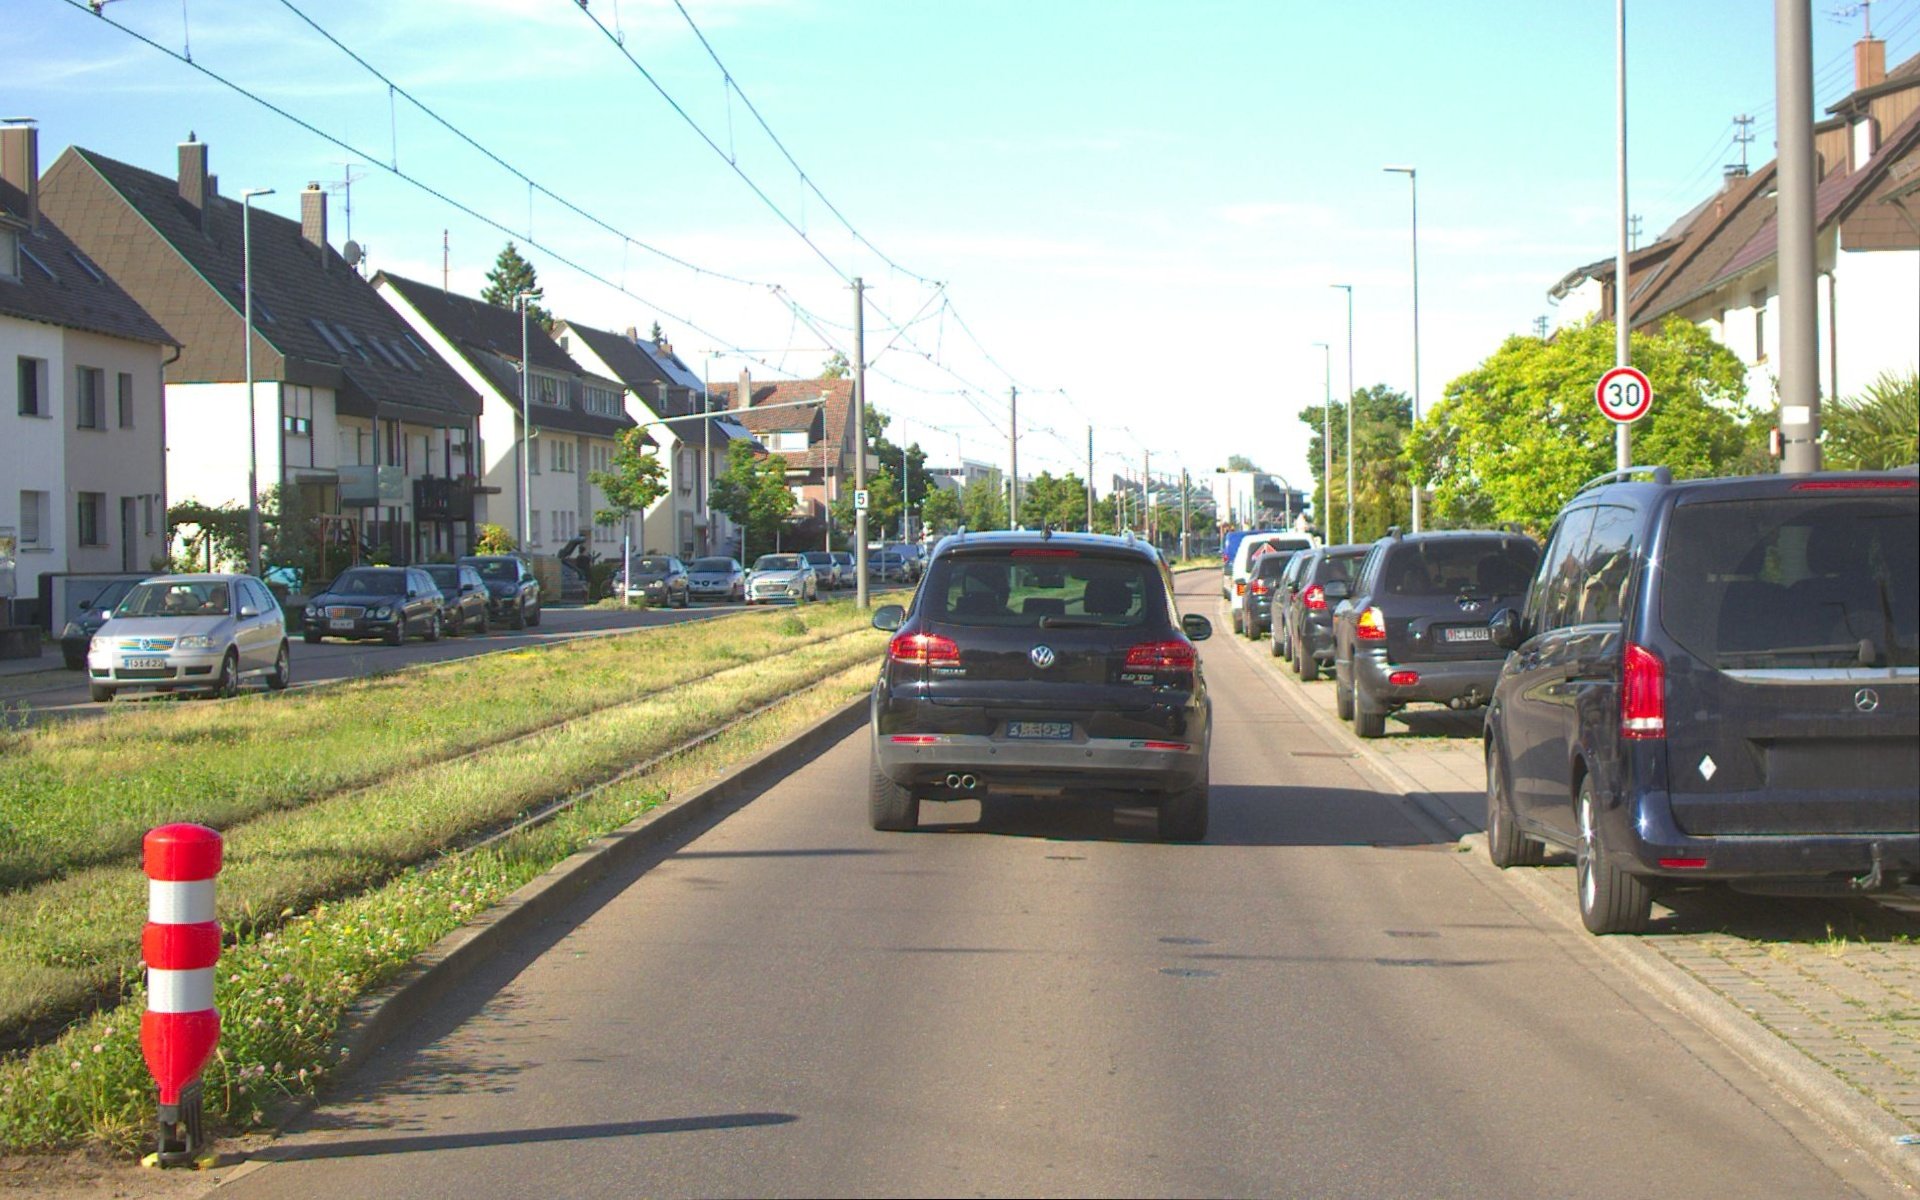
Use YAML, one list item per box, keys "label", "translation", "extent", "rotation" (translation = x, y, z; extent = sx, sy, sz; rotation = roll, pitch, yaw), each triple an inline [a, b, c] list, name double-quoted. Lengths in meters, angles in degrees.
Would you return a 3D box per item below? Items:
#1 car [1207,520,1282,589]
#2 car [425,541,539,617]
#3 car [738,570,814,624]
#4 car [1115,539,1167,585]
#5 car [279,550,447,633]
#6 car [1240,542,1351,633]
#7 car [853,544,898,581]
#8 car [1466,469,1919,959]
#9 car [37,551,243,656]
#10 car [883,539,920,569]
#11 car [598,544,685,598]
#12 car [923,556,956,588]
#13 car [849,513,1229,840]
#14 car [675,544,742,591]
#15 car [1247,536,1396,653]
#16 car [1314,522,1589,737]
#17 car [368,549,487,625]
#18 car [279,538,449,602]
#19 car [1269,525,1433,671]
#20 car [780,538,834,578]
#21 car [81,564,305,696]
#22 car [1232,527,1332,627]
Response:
- label: "car"
  translation: [8.017, -1.298, 97.071]
  extent: [1.994, 1.855, 4.917]
  rotation: [-1, 1, 4]
- label: "car"
  translation: [-10.567, -0.490, 76.323]
  extent: [1.803, 1.591, 4.812]
  rotation: [-1, 1, 0]
- label: "car"
  translation: [-5.348, -0.067, 100.131]
  extent: [1.708, 1.485, 4.023]
  rotation: [-1, -1, 4]
- label: "car"
  translation: [5.705, -1.216, 108.173]
  extent: [1.572, 1.386, 3.614]
  rotation: [-1, 1, 3]
- label: "car"
  translation: [-11.294, -0.184, 65.371]
  extent: [1.877, 1.517, 4.879]
  rotation: [0, 1, 6]
- label: "car"
  translation: [5.625, -0.231, 58.001]
  extent: [1.671, 1.448, 4.125]
  rotation: [-1, 1, 3]
- label: "car"
  translation: [-3.827, -1.686, 155.722]
  extent: [1.660, 1.575, 3.999]
  rotation: [-1, -1, 4]
- label: "car"
  translation: [3.516, 0.387, 15.378]
  extent: [1.962, 1.830, 4.927]
  rotation: [-1, 1, 2]
- label: "car"
  translation: [-12.143, 0.017, 51.168]
  extent: [1.790, 1.458, 4.166]
  rotation: [-1, 1, 4]
- label: "car"
  translation: [-2.728, -2.154, 161.050]
  extent: [1.515, 1.357, 3.590]
  rotation: [-1, 1, 3]
- label: "car"
  translation: [-9.030, -0.834, 97.699]
  extent: [1.619, 1.448, 3.717]
  rotation: [-1, 1, 8]
- label: "car"
  translation: [-1.058, -1.448, 178.364]
  extent: [1.465, 1.671, 3.287]
  rotation: [-1, 0, 4]
- label: "car"
  translation: [0.344, 0.377, 19.929]
  extent: [1.811, 1.665, 4.258]
  rotation: [1, 1, -4]
- label: "car"
  translation: [-8.067, -1.041, 110.409]
  extent: [1.619, 1.404, 3.717]
  rotation: [-1, -1, 4]
- label: "car"
  translation: [4.791, -0.091, 45.978]
  extent: [1.615, 1.470, 4.449]
  rotation: [-1, 1, 2]
- label: "car"
  translation: [4.078, 0.191, 29.154]
  extent: [1.854, 1.653, 4.473]
  rotation: [-1, 1, 3]
- label: "car"
  translation: [-10.932, -0.295, 70.817]
  extent: [1.520, 1.470, 4.200]
  rotation: [0, 1, 4]
- label: "car"
  translation: [-15.683, -0.803, 90.563]
  extent: [4.165, 1.611, 1.760]
  rotation: [-1, 1, 0]
- label: "car"
  translation: [4.482, -0.055, 39.834]
  extent: [1.666, 1.542, 3.835]
  rotation: [-3, 1, 4]
- label: "car"
  translation: [-5.925, -1.649, 133.448]
  extent: [1.659, 1.491, 3.579]
  rotation: [-1, 1, 4]
- label: "car"
  translation: [-8.897, 0.317, 40.151]
  extent: [1.550, 1.407, 3.659]
  rotation: [-1, 1, 4]
- label: "car"
  translation: [5.932, -0.459, 63.697]
  extent: [1.690, 1.770, 4.655]
  rotation: [-1, 1, 4]
